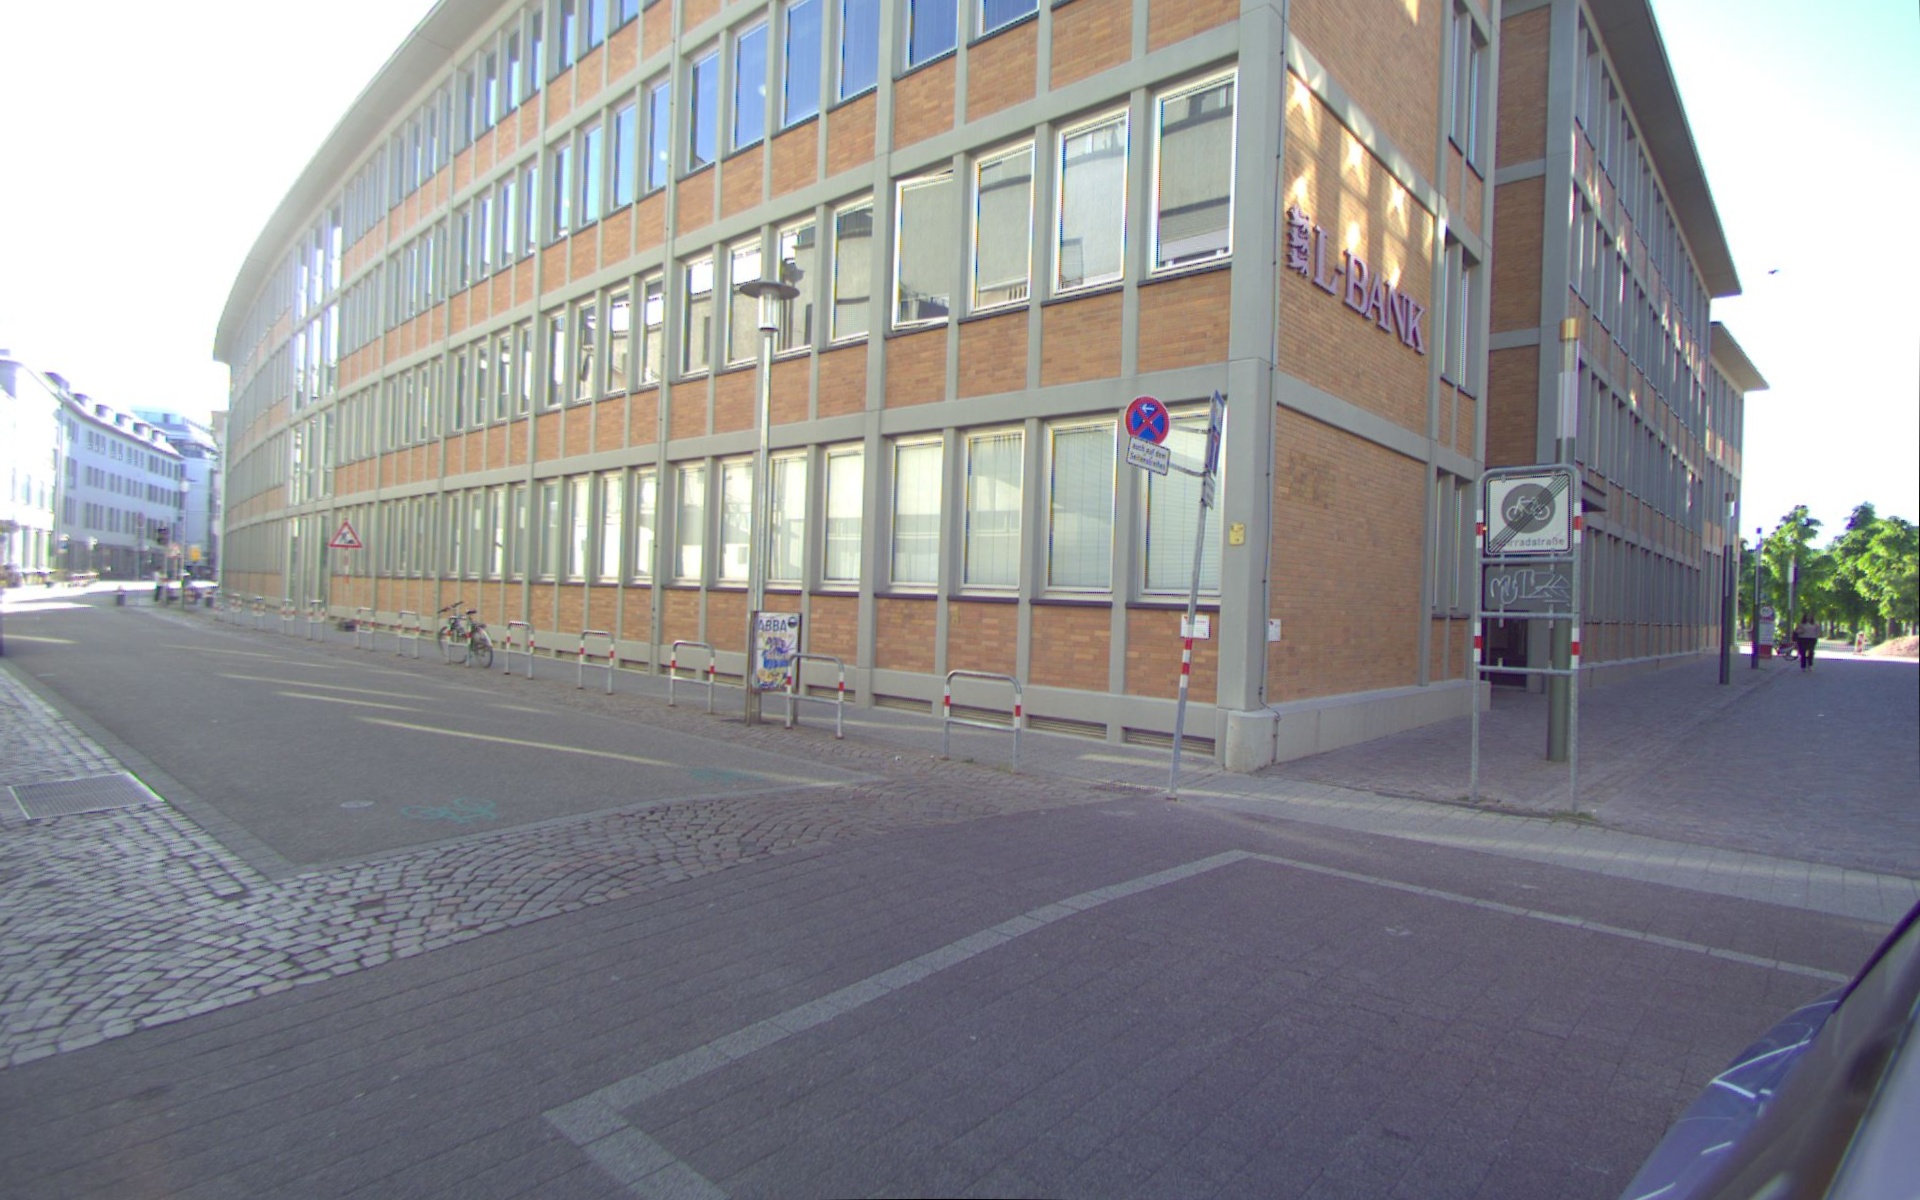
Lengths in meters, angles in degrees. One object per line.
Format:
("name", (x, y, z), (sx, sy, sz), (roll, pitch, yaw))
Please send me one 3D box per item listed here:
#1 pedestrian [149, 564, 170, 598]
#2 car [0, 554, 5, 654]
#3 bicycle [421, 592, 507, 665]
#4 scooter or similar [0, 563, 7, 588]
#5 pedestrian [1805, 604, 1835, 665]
("pedestrian", (-34.957, -0.835, 44.189), (0.594, 1.459, 0.649), (2, 0, 45))
("car", (-16.334, 0.010, 15.887), (3.801, 1.488, 1.743), (3, 3, 43))
("bicycle", (-8.449, 0.459, 17.204), (1.923, 1.130, 0.628), (2, 1, 42))
("scooter or similar", (-47.610, -1.200, 49.414), (1.926, 1.212, 0.531), (2, 0, 11))
("pedestrian", (26.119, 1.051, 30.730), (0.636, 1.808, 0.642), (2, -2, 42))
